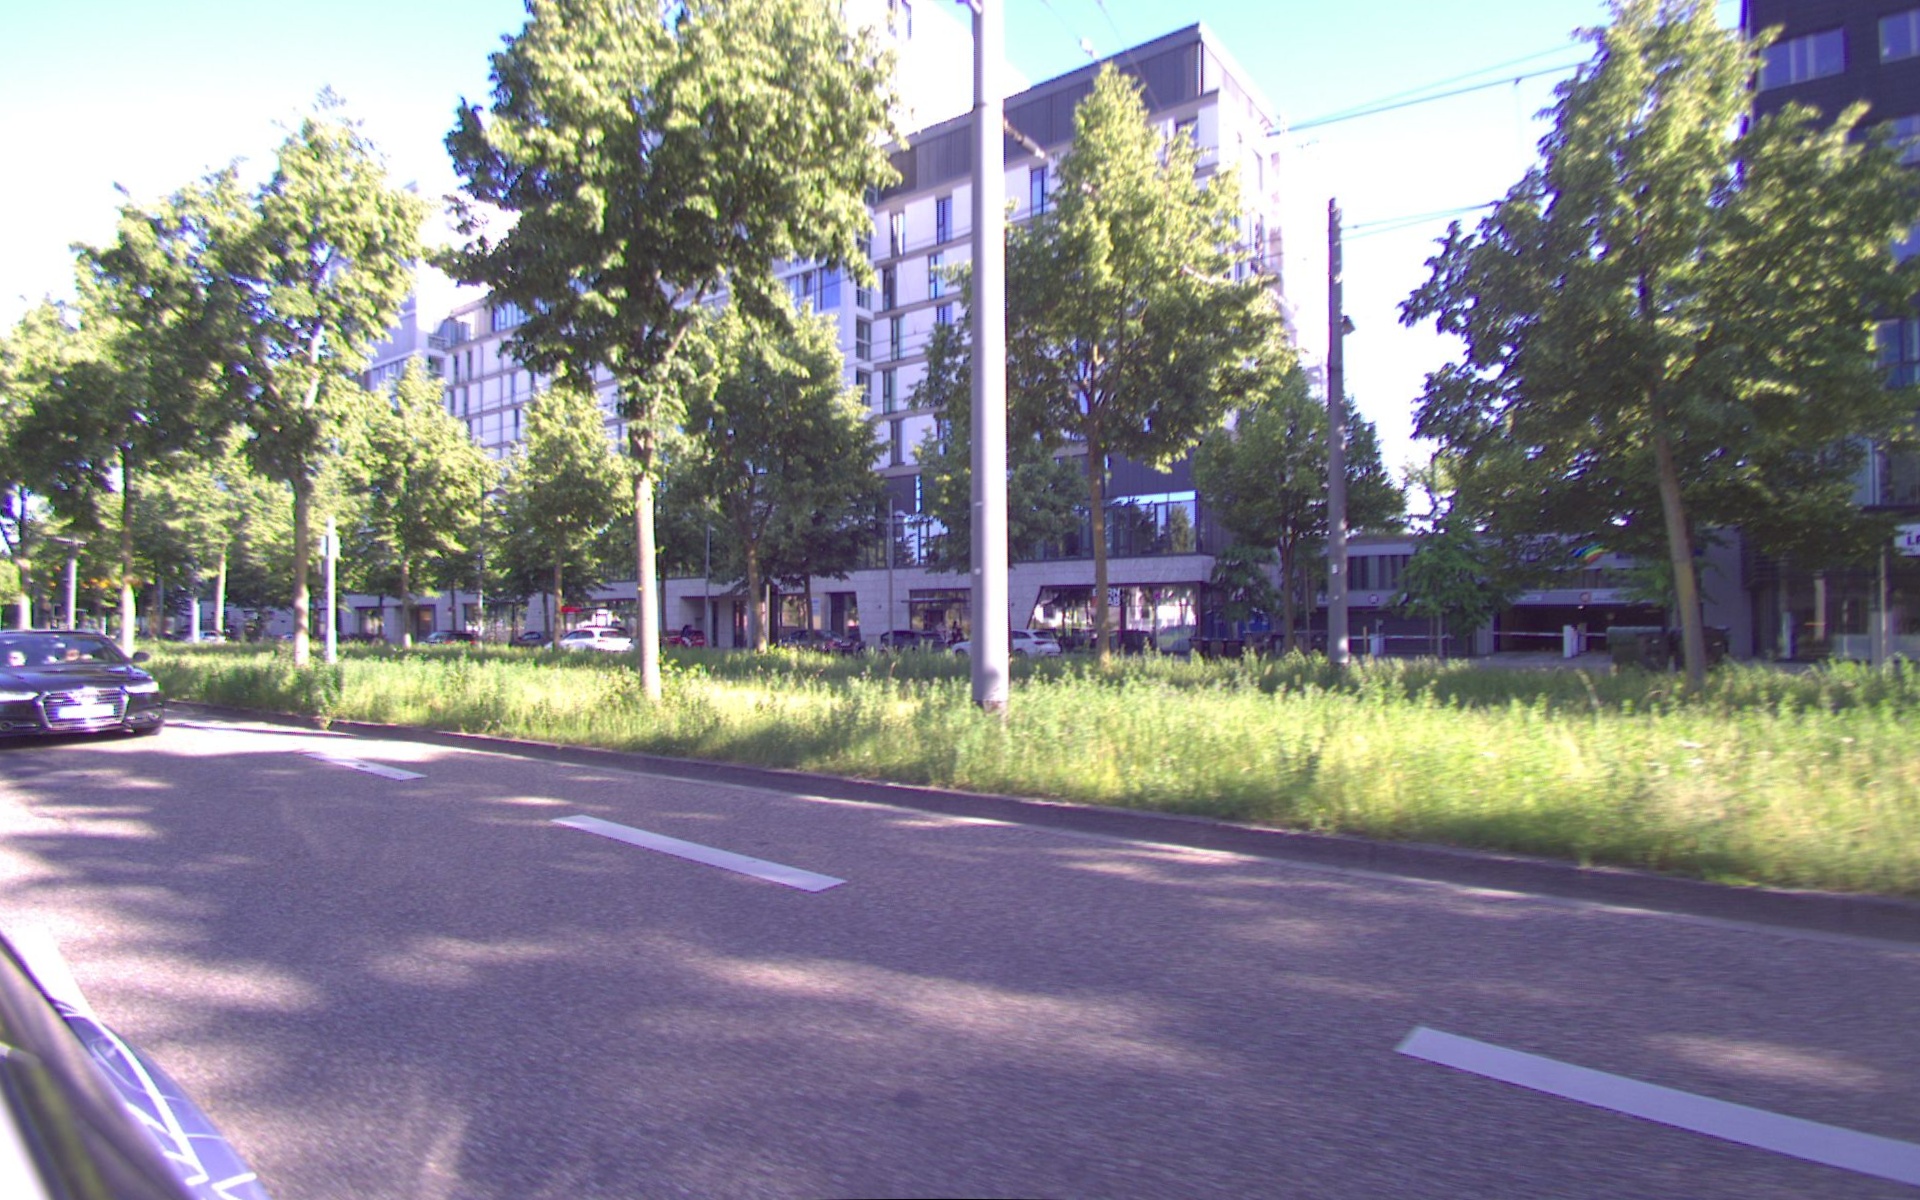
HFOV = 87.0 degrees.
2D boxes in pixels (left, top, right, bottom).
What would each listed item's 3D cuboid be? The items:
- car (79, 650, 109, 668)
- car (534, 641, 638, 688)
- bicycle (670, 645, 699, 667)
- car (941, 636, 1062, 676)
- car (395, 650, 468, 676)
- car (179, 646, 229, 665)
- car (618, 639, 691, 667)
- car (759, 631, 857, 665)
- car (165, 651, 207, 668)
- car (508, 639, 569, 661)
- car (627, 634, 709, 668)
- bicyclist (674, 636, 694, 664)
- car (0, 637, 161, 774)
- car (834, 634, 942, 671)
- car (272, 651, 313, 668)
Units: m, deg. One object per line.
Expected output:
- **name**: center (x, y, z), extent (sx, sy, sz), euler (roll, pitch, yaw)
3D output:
- **car**: center (-96.766, 6.569, 113.057), extent (3.994, 1.940, 1.783), euler (-1, -1, 38)
- **car**: center (-14.927, 2.561, 40.297), extent (4.312, 1.702, 1.781), euler (-3, -2, 36)
- **bicycle**: center (-14.826, 3.020, 54.378), extent (1.569, 1.128, 0.725), euler (-3, -3, 39)
- **car**: center (1.553, 2.153, 39.148), extent (4.537, 1.431, 1.699), euler (-3, -3, 37)
- **car**: center (-27.067, 3.202, 51.769), extent (3.993, 1.273, 1.781), euler (-2, -2, 37)
- **car**: center (-56.403, 4.154, 75.451), extent (4.302, 1.302, 1.781), euler (-4, -4, 36)
- **car**: center (-15.748, 2.712, 52.135), extent (3.746, 1.364, 1.717), euler (-2, -2, 36)
- **car**: center (-6.895, 2.147, 45.594), extent (4.537, 1.431, 1.699), euler (-2, -2, 37)
- **car**: center (-72.258, 5.547, 94.481), extent (4.537, 1.431, 1.940), euler (-3, -3, 37)
- **car**: center (-24.423, 2.895, 58.609), extent (3.575, 1.217, 1.653), euler (-2, -2, 36)
- **car**: center (-17.108, 2.993, 59.169), extent (5.118, 1.790, 1.782), euler (-3, -2, 36)
- **bicyclist**: center (-14.842, 2.669, 54.400), extent (0.831, 1.475, 0.713), euler (-3, -3, 39)
- **car**: center (-12.482, 1.317, 13.593), extent (4.595, 1.538, 1.767), euler (-3, -2, 39)
- **car**: center (-3.067, 2.216, 42.438), extent (4.539, 1.431, 1.699), euler (-3, -3, 38)
- **car**: center (-52.571, 4.675, 79.711), extent (3.459, 1.244, 1.635), euler (-1, -1, 36)
